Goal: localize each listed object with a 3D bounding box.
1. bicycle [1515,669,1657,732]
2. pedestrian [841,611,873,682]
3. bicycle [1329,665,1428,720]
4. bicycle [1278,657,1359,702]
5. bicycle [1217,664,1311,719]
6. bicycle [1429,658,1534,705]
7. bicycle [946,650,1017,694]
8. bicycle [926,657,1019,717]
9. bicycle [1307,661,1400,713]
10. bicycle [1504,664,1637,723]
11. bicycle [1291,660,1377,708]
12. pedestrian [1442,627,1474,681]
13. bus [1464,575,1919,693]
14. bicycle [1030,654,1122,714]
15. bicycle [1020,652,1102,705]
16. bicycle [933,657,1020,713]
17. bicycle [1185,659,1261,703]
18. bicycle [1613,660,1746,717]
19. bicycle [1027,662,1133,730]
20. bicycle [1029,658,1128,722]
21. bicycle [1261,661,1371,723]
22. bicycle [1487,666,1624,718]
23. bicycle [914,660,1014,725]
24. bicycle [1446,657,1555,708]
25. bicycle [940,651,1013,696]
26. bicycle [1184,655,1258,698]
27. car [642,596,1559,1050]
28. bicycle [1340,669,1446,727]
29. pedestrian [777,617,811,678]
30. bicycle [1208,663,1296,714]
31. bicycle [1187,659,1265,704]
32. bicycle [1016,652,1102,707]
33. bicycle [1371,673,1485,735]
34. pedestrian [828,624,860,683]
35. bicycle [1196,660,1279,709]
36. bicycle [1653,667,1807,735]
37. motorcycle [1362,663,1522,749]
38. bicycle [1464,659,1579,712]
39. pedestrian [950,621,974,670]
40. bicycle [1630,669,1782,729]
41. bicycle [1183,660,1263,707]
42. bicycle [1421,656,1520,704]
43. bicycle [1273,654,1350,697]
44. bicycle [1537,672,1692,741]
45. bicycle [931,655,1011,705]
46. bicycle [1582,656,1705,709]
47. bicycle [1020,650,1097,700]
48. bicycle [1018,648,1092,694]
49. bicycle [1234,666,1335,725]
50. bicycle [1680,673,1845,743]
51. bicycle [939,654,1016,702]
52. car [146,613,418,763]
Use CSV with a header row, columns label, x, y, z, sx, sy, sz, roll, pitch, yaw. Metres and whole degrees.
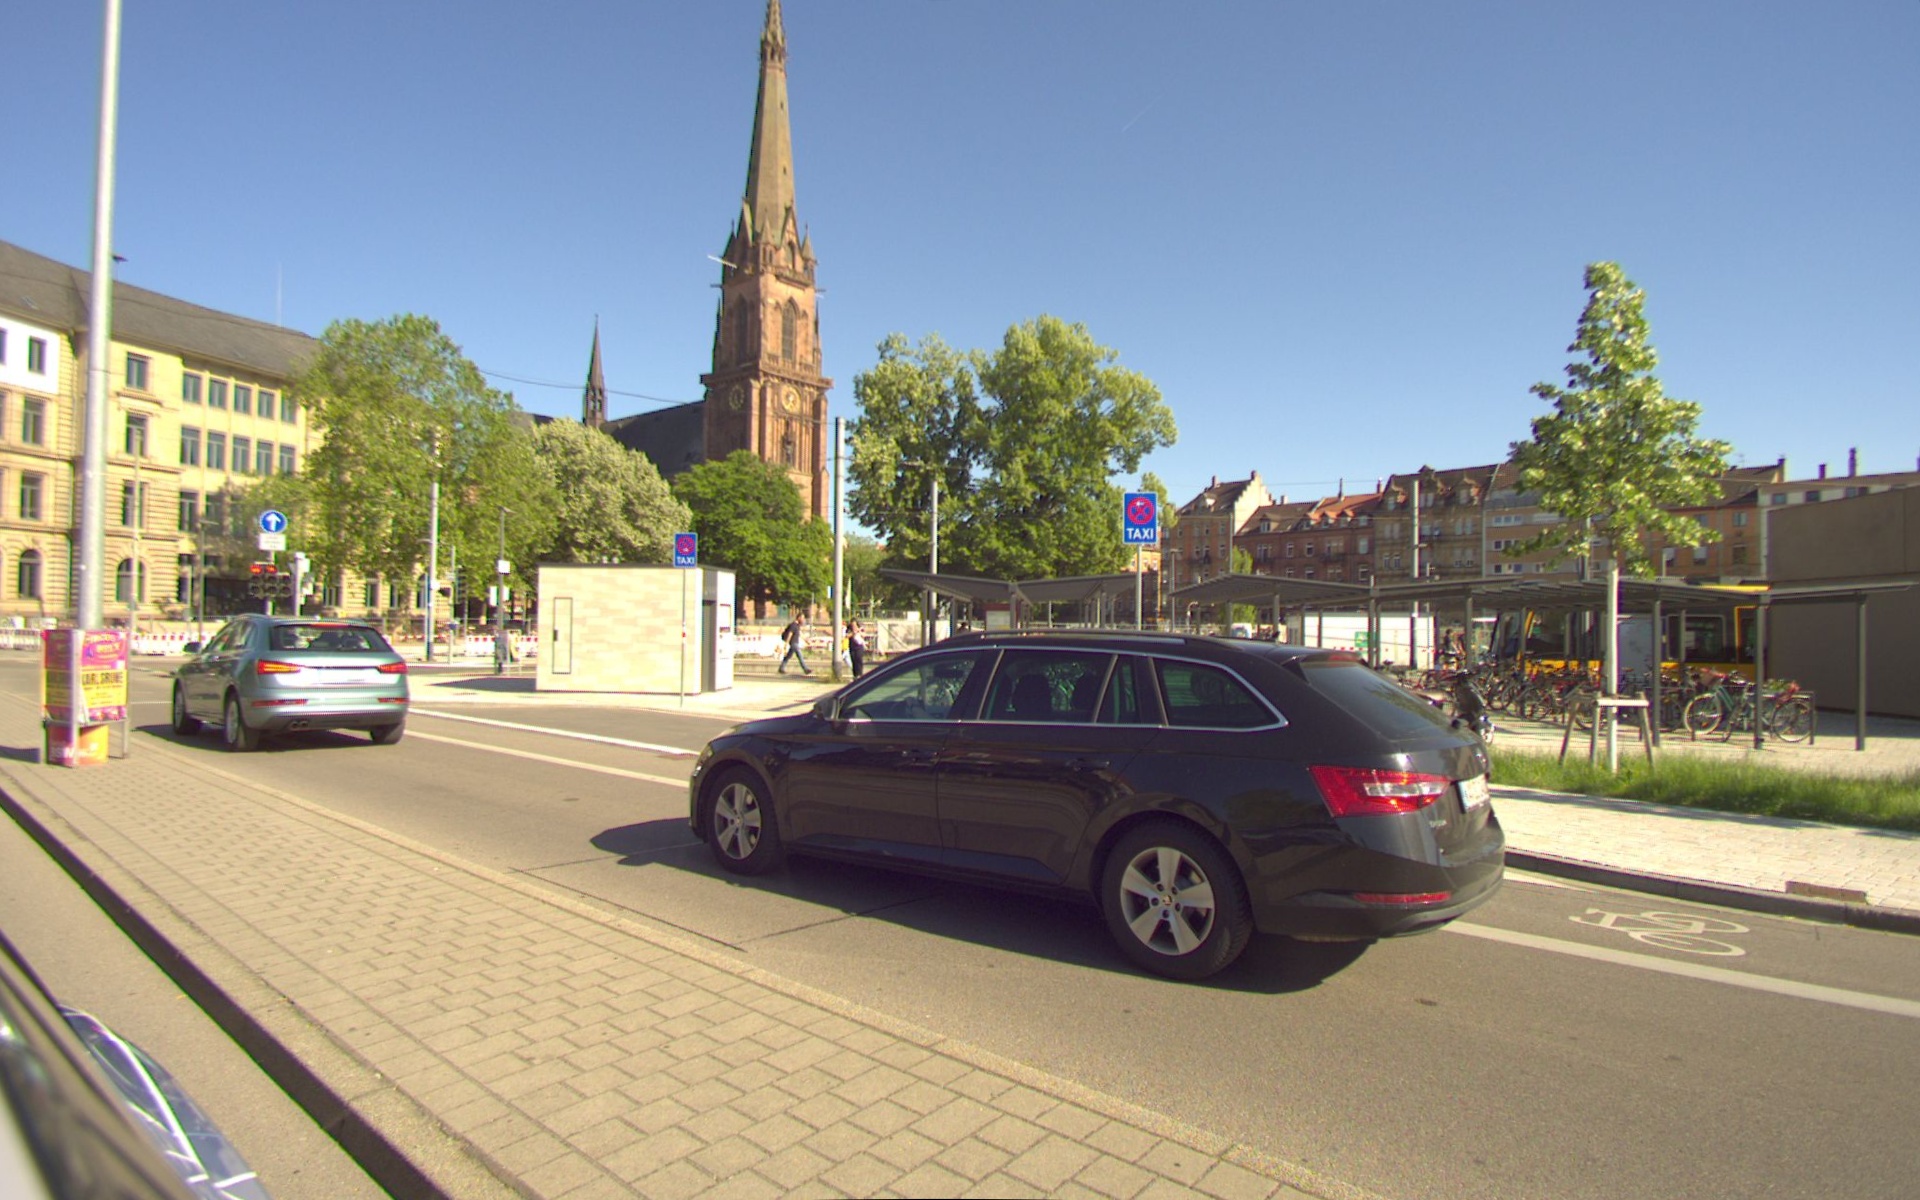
label,x,y,z,sx,sy,sz,roll,pitch,yaw
bicycle,10.893,1.740,17.649,2.048,1.045,0.533,-1,0,8
pedestrian,-2.761,1.253,27.200,0.614,1.874,0.699,0,-2,14
bicycle,7.842,1.731,19.012,1.661,0.980,0.406,-1,0,3
bicycle,8.073,1.789,22.837,1.661,0.980,0.406,-1,0,3
bicycle,5.814,1.738,19.374,1.661,0.980,0.406,1,0,3
bicycle,12.031,1.880,23.373,2.048,1.045,0.533,-1,-4,8
bicycle,0.517,1.703,24.186,1.663,1.006,0.406,0,0,8
bicycle,0.231,1.598,18.600,1.663,1.006,0.406,2,0,8
bicycle,7.857,1.731,20.228,1.661,0.980,0.406,-1,0,3
bicycle,11.321,1.734,18.811,2.048,1.045,0.533,-1,0,8
bicycle,7.988,1.790,21.622,1.661,0.980,0.406,-1,0,3
pedestrian,17.801,1.919,36.194,0.793,1.931,0.769,0,-2,4
bus,21.918,0.934,28.649,13.462,3.095,2.859,0,-2,6
bicycle,2.235,1.621,19.581,1.755,1.083,0.406,1,0,6
bicycle,2.193,1.695,22.027,1.755,1.083,0.406,1,0,6
bicycle,0.328,1.665,19.944,1.663,1.006,0.406,2,0,8
bicycle,6.137,1.882,23.623,1.661,0.980,0.406,1,-5,3
bicycle,13.852,1.700,19.524,2.048,1.045,0.533,-1,0,8
bicycle,2.022,1.607,17.091,1.753,1.083,0.406,1,-3,6
bicycle,2.139,1.617,18.336,1.753,1.083,0.406,1,0,6
bicycle,5.931,1.527,16.889,1.661,0.980,0.406,-1,0,3
bicycle,11.614,1.799,19.789,2.208,0.951,0.685,-1,0,7
bicycle,0.067,1.575,17.382,1.663,1.006,0.406,2,0,8
bicycle,11.865,1.802,22.254,2.048,1.045,0.533,-1,2,8
bicycle,0.393,1.702,23.661,1.663,1.006,0.406,0,0,8
bicycle,6.256,1.837,24.311,1.661,0.980,0.406,1,-5,3
car,0.441,0.838,5.616,4.778,1.516,1.796,-1,-4,38
bicycle,7.643,1.726,17.891,1.661,0.980,0.406,-1,0,3
pedestrian,-4.800,1.374,29.277,0.823,1.740,0.620,0,-2,4
bicycle,5.924,1.786,20.563,1.661,0.980,0.406,1,-5,3
bicycle,6.053,1.861,23.050,1.661,0.980,0.406,1,-5,3
bicycle,2.052,1.643,20.972,1.755,1.083,0.406,1,0,6
bicycle,7.767,1.724,16.820,1.661,0.980,0.406,-1,0,3
pedestrian,-3.229,1.476,28.147,0.695,1.635,0.617,0,-2,14
bicycle,5.925,1.806,21.639,1.661,0.980,0.406,1,-5,3
bicycle,12.988,1.697,17.114,2.030,1.087,0.604,-1,0,7
motorcycle,7.193,1.571,15.159,2.059,1.228,0.569,-1,-2,3
bicycle,11.776,1.796,21.264,2.048,1.045,0.533,-1,2,8
pedestrian,0.061,1.732,38.993,0.610,1.874,0.703,2,-2,-39
bicycle,13.479,1.781,18.329,2.117,1.005,0.690,-1,0,7
bicycle,5.785,1.838,22.295,1.661,0.980,0.406,1,-5,3
bicycle,12.300,1.920,24.428,2.048,1.045,0.533,1,3,8
bicycle,8.291,1.786,23.914,1.661,0.980,0.406,-1,0,3
bicycle,10.572,1.711,16.388,2.048,1.045,0.533,-1,0,8
bicycle,0.229,1.677,21.403,1.663,1.006,0.406,0,0,8
bicycle,14.078,1.697,20.876,2.048,1.045,0.533,-1,0,8
bicycle,2.272,1.732,23.497,1.755,1.083,0.406,1,0,6
bicycle,2.314,1.724,24.677,1.755,1.083,0.406,1,0,6
bicycle,5.815,1.710,18.187,1.661,0.980,0.406,1,0,3
bicycle,12.767,1.715,16.137,2.048,1.045,0.533,-1,0,8
bicycle,0.384,1.706,22.283,1.663,1.006,0.406,0,0,8
car,-8.711,1.016,12.867,4.255,1.594,1.769,-1,-4,41
